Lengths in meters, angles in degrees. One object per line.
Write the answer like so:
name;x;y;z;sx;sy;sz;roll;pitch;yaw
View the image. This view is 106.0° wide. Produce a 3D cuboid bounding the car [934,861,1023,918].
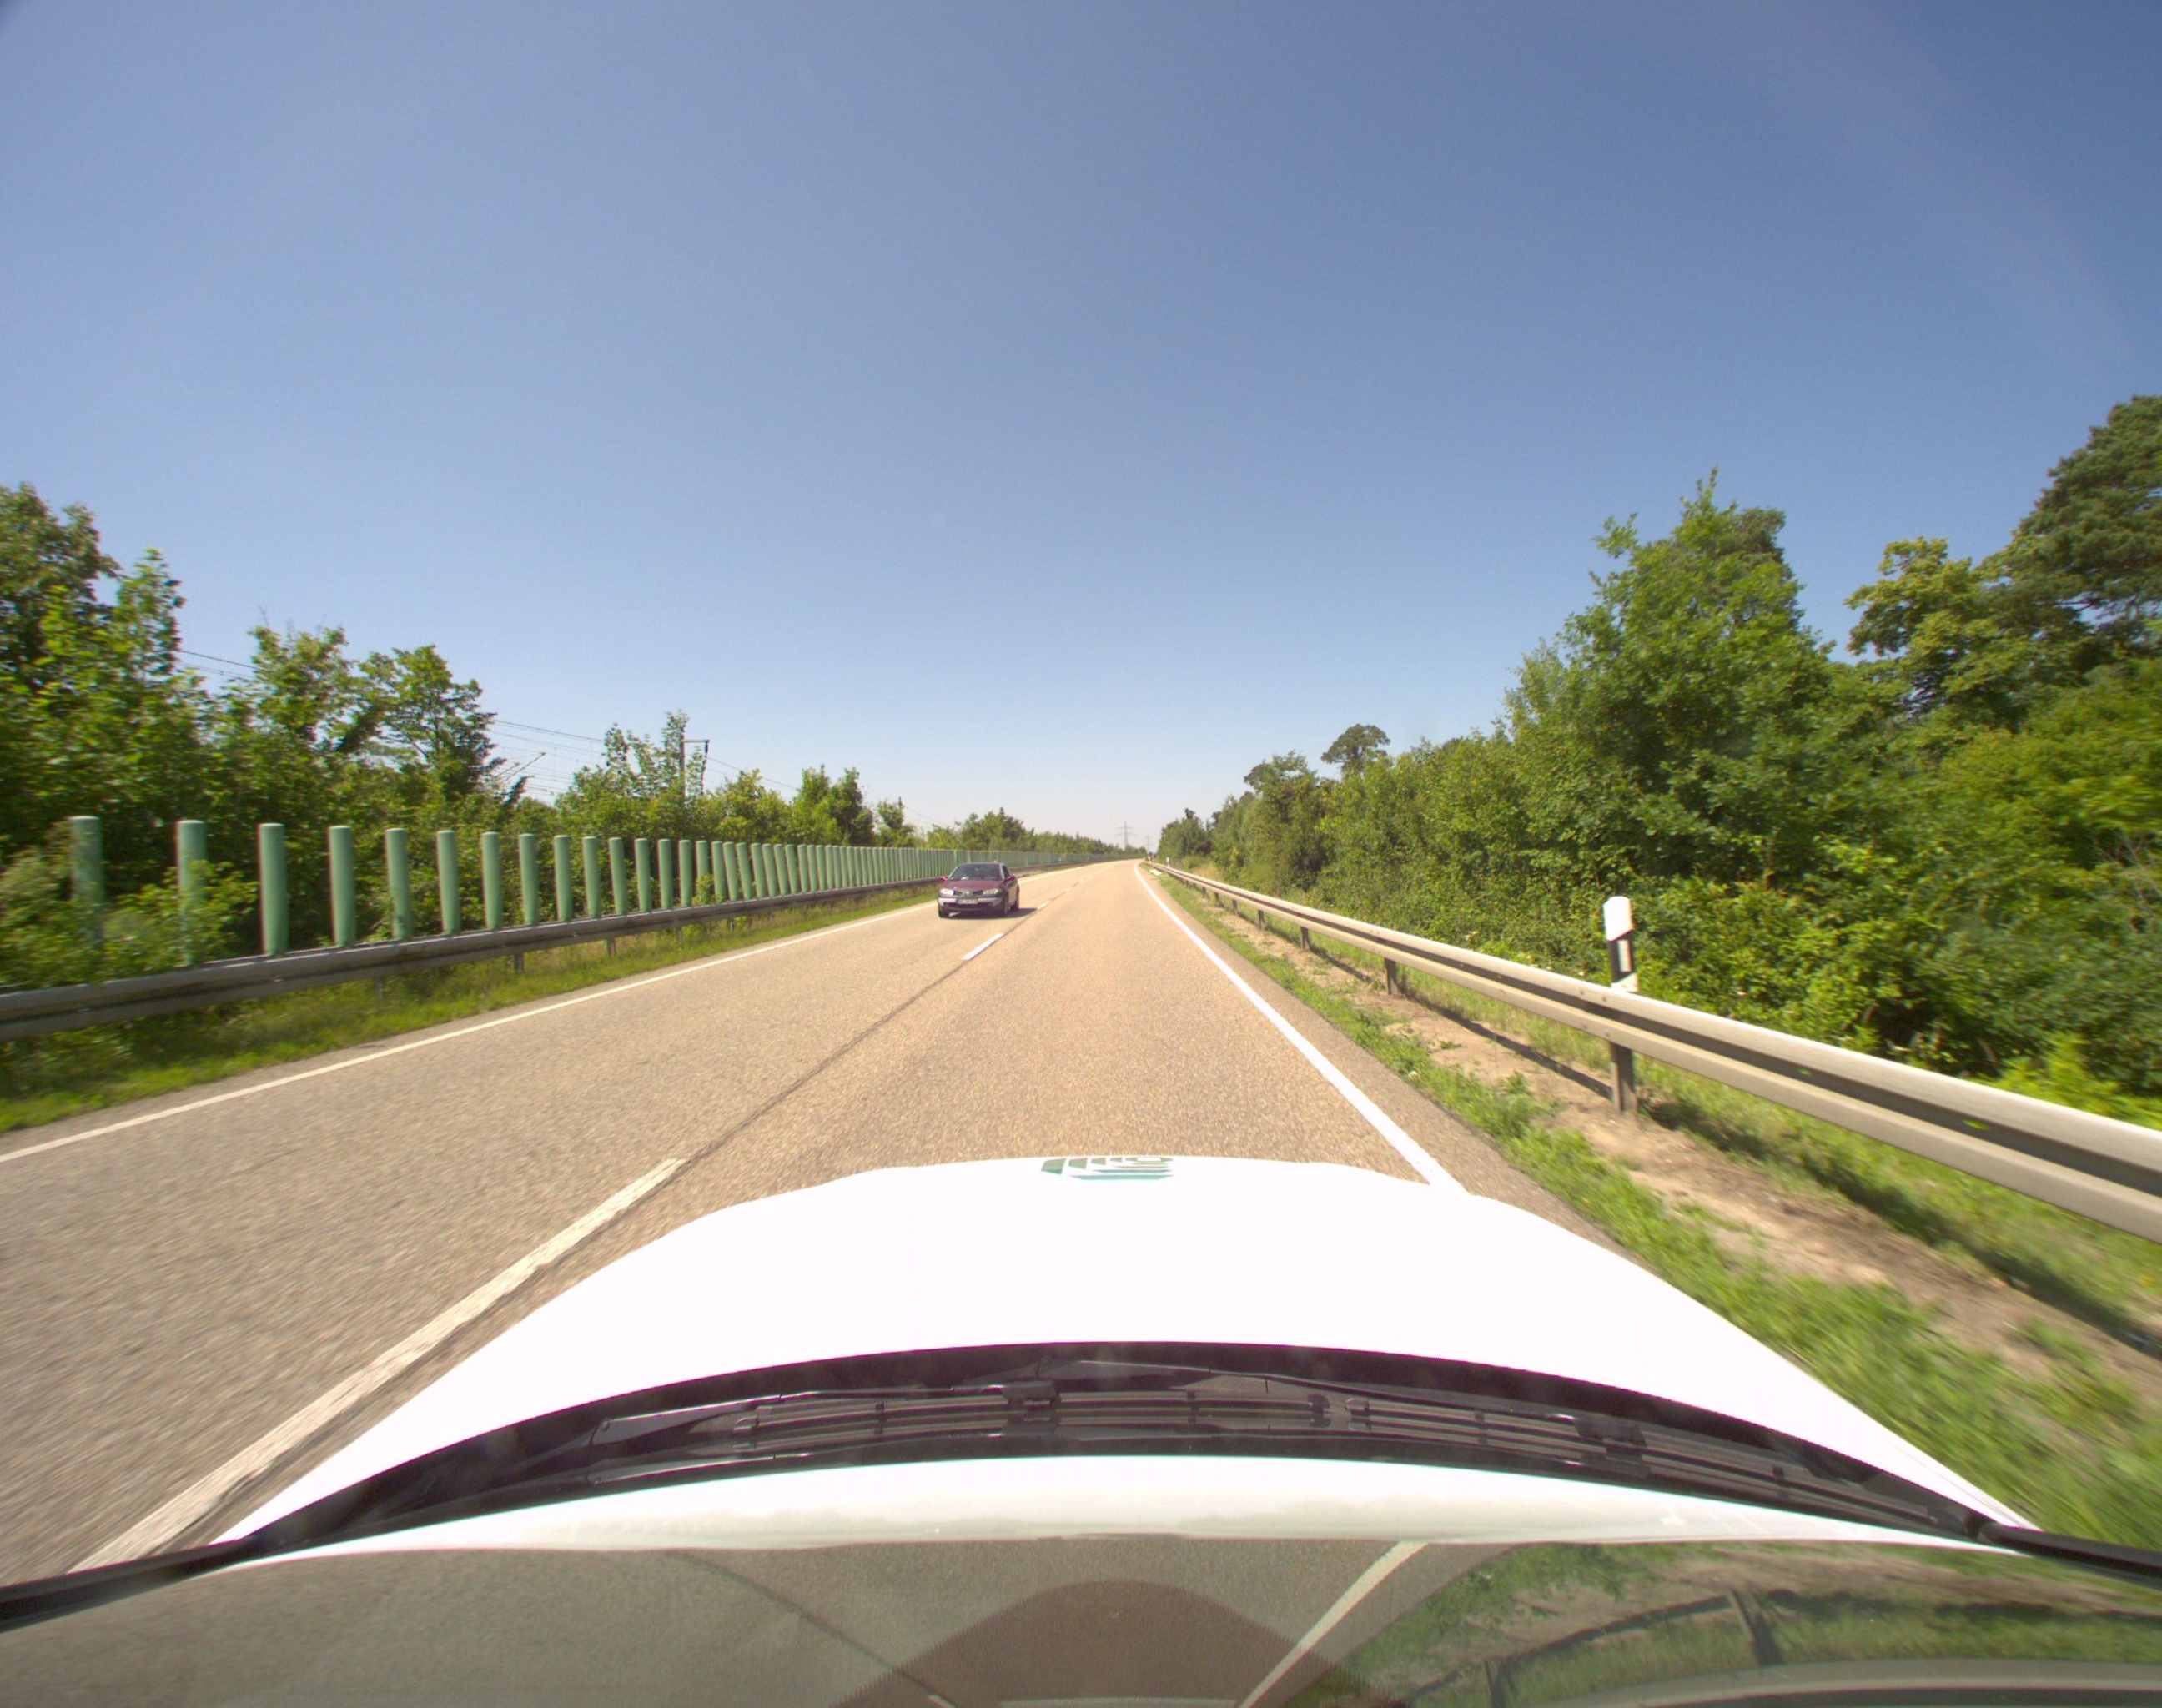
car;-2.683;0.900;22.097;1.780;1.371;3.898;-1;0;2
